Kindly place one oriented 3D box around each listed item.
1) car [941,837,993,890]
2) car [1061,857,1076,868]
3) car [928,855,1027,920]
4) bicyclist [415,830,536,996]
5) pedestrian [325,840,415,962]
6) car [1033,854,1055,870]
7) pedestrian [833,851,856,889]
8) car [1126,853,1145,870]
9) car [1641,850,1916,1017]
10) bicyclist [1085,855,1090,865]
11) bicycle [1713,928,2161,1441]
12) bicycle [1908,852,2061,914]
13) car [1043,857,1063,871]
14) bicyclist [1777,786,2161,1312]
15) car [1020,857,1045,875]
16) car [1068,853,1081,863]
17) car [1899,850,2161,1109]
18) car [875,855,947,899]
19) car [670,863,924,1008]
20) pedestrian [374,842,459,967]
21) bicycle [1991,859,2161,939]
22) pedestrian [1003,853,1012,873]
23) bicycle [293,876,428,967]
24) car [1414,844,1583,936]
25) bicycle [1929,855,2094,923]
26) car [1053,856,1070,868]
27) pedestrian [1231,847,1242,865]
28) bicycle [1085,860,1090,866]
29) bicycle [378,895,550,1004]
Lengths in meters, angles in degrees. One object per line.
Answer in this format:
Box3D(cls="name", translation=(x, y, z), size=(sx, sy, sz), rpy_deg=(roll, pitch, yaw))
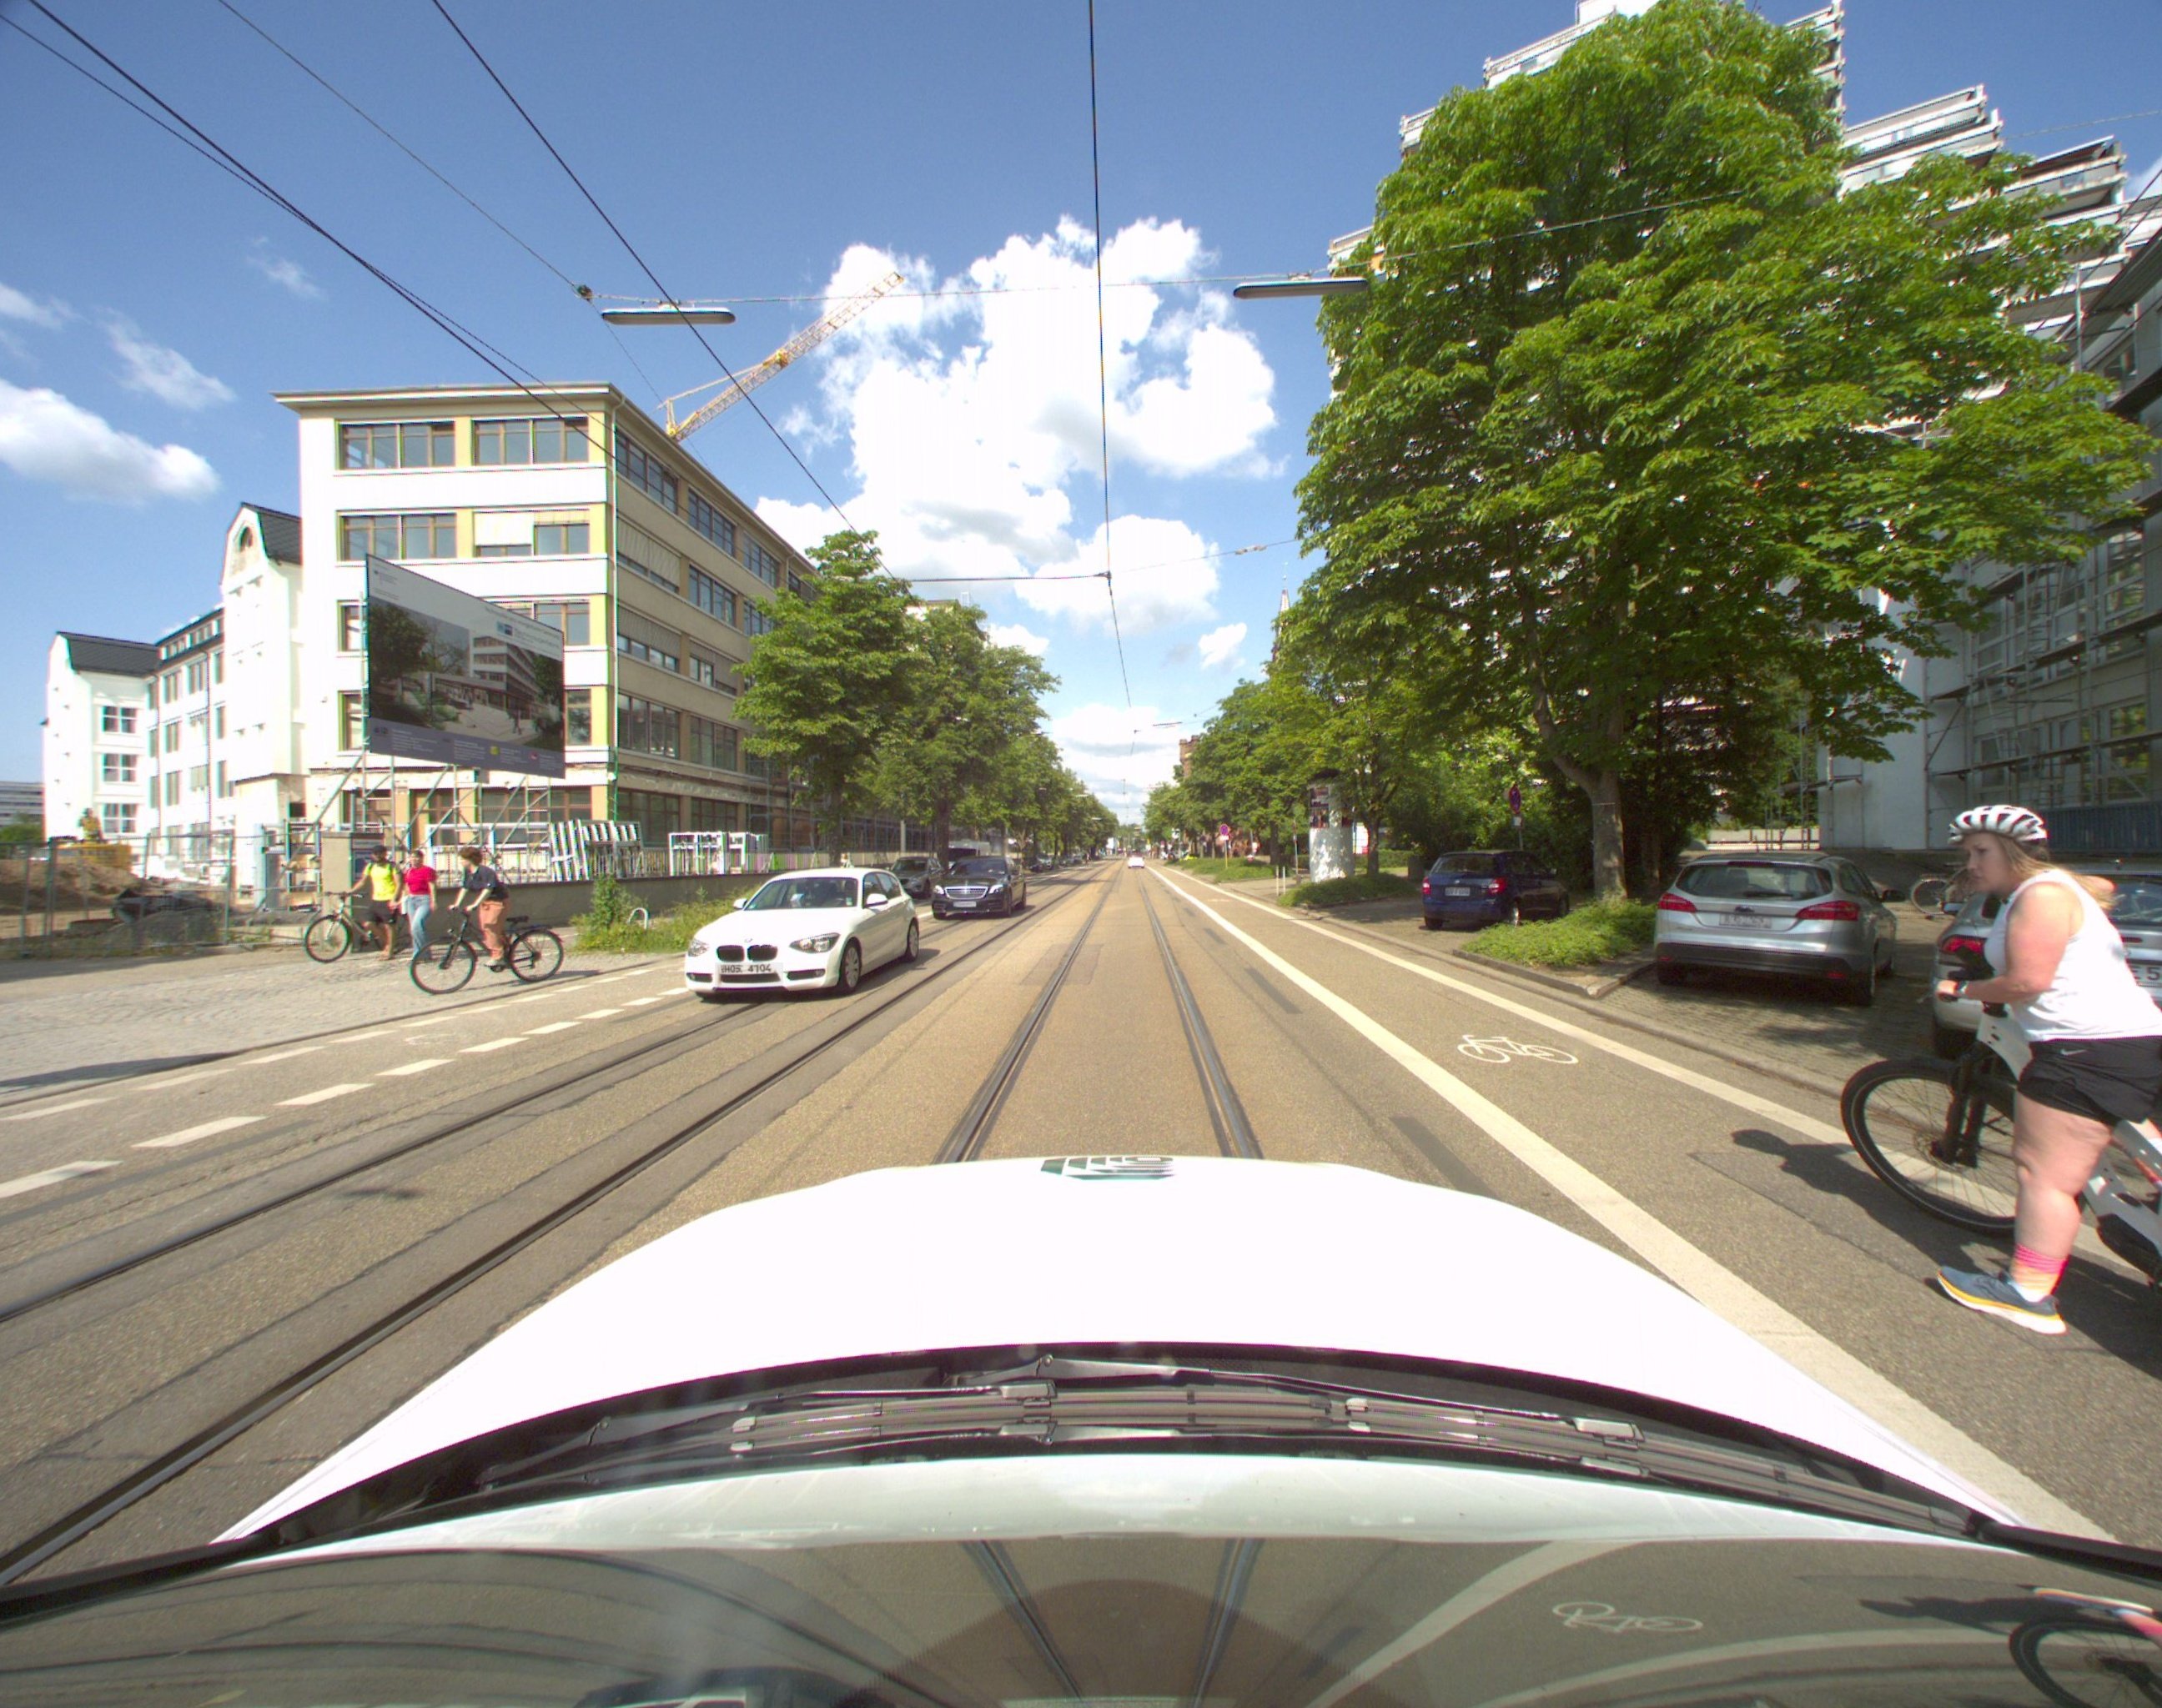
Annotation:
Box3D(cls="car", translation=(-6.011, 0.490, 43.600), size=(1.762, 2.639, 5.326), rpy_deg=(1, 0, 3))
Box3D(cls="car", translation=(-1.835, 1.252, 118.482), size=(1.797, 1.516, 4.106), rpy_deg=(1, 0, 3))
Box3D(cls="car", translation=(-2.563, 0.791, 21.181), size=(1.793, 1.508, 4.539), rpy_deg=(0, 0, 2))
Box3D(cls="bicyclist", translation=(-7.808, 0.738, 10.542), size=(0.873, 2.014, 0.834), rpy_deg=(-3, -1, 2))
Box3D(cls="pedestrian", translation=(-10.844, 0.702, 12.446), size=(0.705, 1.793, 0.661), rpy_deg=(2, -1, -3))
Box3D(cls="car", translation=(-3.787, 0.792, 83.883), size=(1.797, 1.516, 4.106), rpy_deg=(-1, 0, 3))
Box3D(cls="pedestrian", translation=(-10.039, 0.671, 34.577), size=(0.761, 1.620, 0.594), rpy_deg=(1, -1, 3))
Box3D(cls="car", translation=(5.479, 0.694, 81.656), size=(1.659, 1.624, 3.621), rpy_deg=(-1, 0, 1))
Box3D(cls="car", translation=(7.889, 0.705, 9.106), size=(3.824, 1.474, 1.634), rpy_deg=(0, 1, -39))
Box3D(cls="bicyclist", translation=(1.047, 1.023, 132.687), size=(0.656, 1.579, 0.946), rpy_deg=(1, 0, 1))
Box3D(cls="bicycle", translation=(3.302, 0.925, 2.797), size=(0.869, 1.126, 2.141), rpy_deg=(0, 0, 9))
Box3D(cls="bicycle", translation=(16.586, 0.526, 15.005), size=(1.809, 1.096, 0.454), rpy_deg=(-1, 0, 34))
Box3D(cls="car", translation=(-3.150, 1.132, 91.816), size=(1.797, 1.516, 4.106), rpy_deg=(1, 0, 3))
Box3D(cls="bicyclist", translation=(3.340, 0.570, 2.896), size=(0.884, 1.529, 1.088), rpy_deg=(1, 0, 9))
Box3D(cls="car", translation=(-4.329, 1.047, 73.426), size=(1.797, 1.516, 4.106), rpy_deg=(1, 0, 3))
Box3D(cls="car", translation=(-0.992, 0.650, 129.661), size=(1.797, 1.516, 4.106), rpy_deg=(-1, 0, 3))
Box3D(cls="car", translation=(7.721, 0.706, 5.997), size=(4.261, 1.420, 1.705), rpy_deg=(-1, 1, -35))
Box3D(cls="car", translation=(-6.782, 0.869, 32.941), size=(1.797, 1.662, 4.106), rpy_deg=(1, 0, 3))
Box3D(cls="car", translation=(-3.317, 0.855, 10.452), size=(1.681, 1.405, 4.226), rpy_deg=(-3, -1, 0))
Box3D(cls="pedestrian", translation=(-10.158, 0.745, 12.476), size=(0.705, 1.831, 0.661), rpy_deg=(2, 1, -3))
Box3D(cls="bicycle", translation=(14.768, 0.653, 11.958), size=(1.809, 1.095, 0.454), rpy_deg=(-2, 2, 34))
Box3D(cls="pedestrian", translation=(-7.447, 0.920, 82.536), size=(0.802, 2.013, 0.484), rpy_deg=(-1, 0, -6))
Box3D(cls="bicycle", translation=(-11.235, 1.014, 12.778), size=(0.444, 1.286, 1.741), rpy_deg=(-1, 0, 5))
Box3D(cls="car", translation=(8.186, 0.616, 15.819), size=(4.023, 1.486, 1.596), rpy_deg=(-2, 0, -43))
Box3D(cls="bicycle", translation=(15.929, 0.586, 14.001), size=(1.809, 1.096, 0.454), rpy_deg=(-1, 1, 34))
Box3D(cls="car", translation=(-2.528, 0.977, 106.066), size=(1.797, 1.516, 4.106), rpy_deg=(-1, 0, 3))
Box3D(cls="pedestrian", translation=(16.764, 0.212, 87.963), size=(0.973, 2.014, 1.094), rpy_deg=(1, -1, 2))
Box3D(cls="bicycle", translation=(1.055, 1.443, 132.658), size=(0.616, 0.973, 1.718), rpy_deg=(-1, 0, 3))
Box3D(cls="bicycle", translation=(-7.796, 1.156, 10.427), size=(0.641, 1.166, 1.945), rpy_deg=(0, 0, 2))
